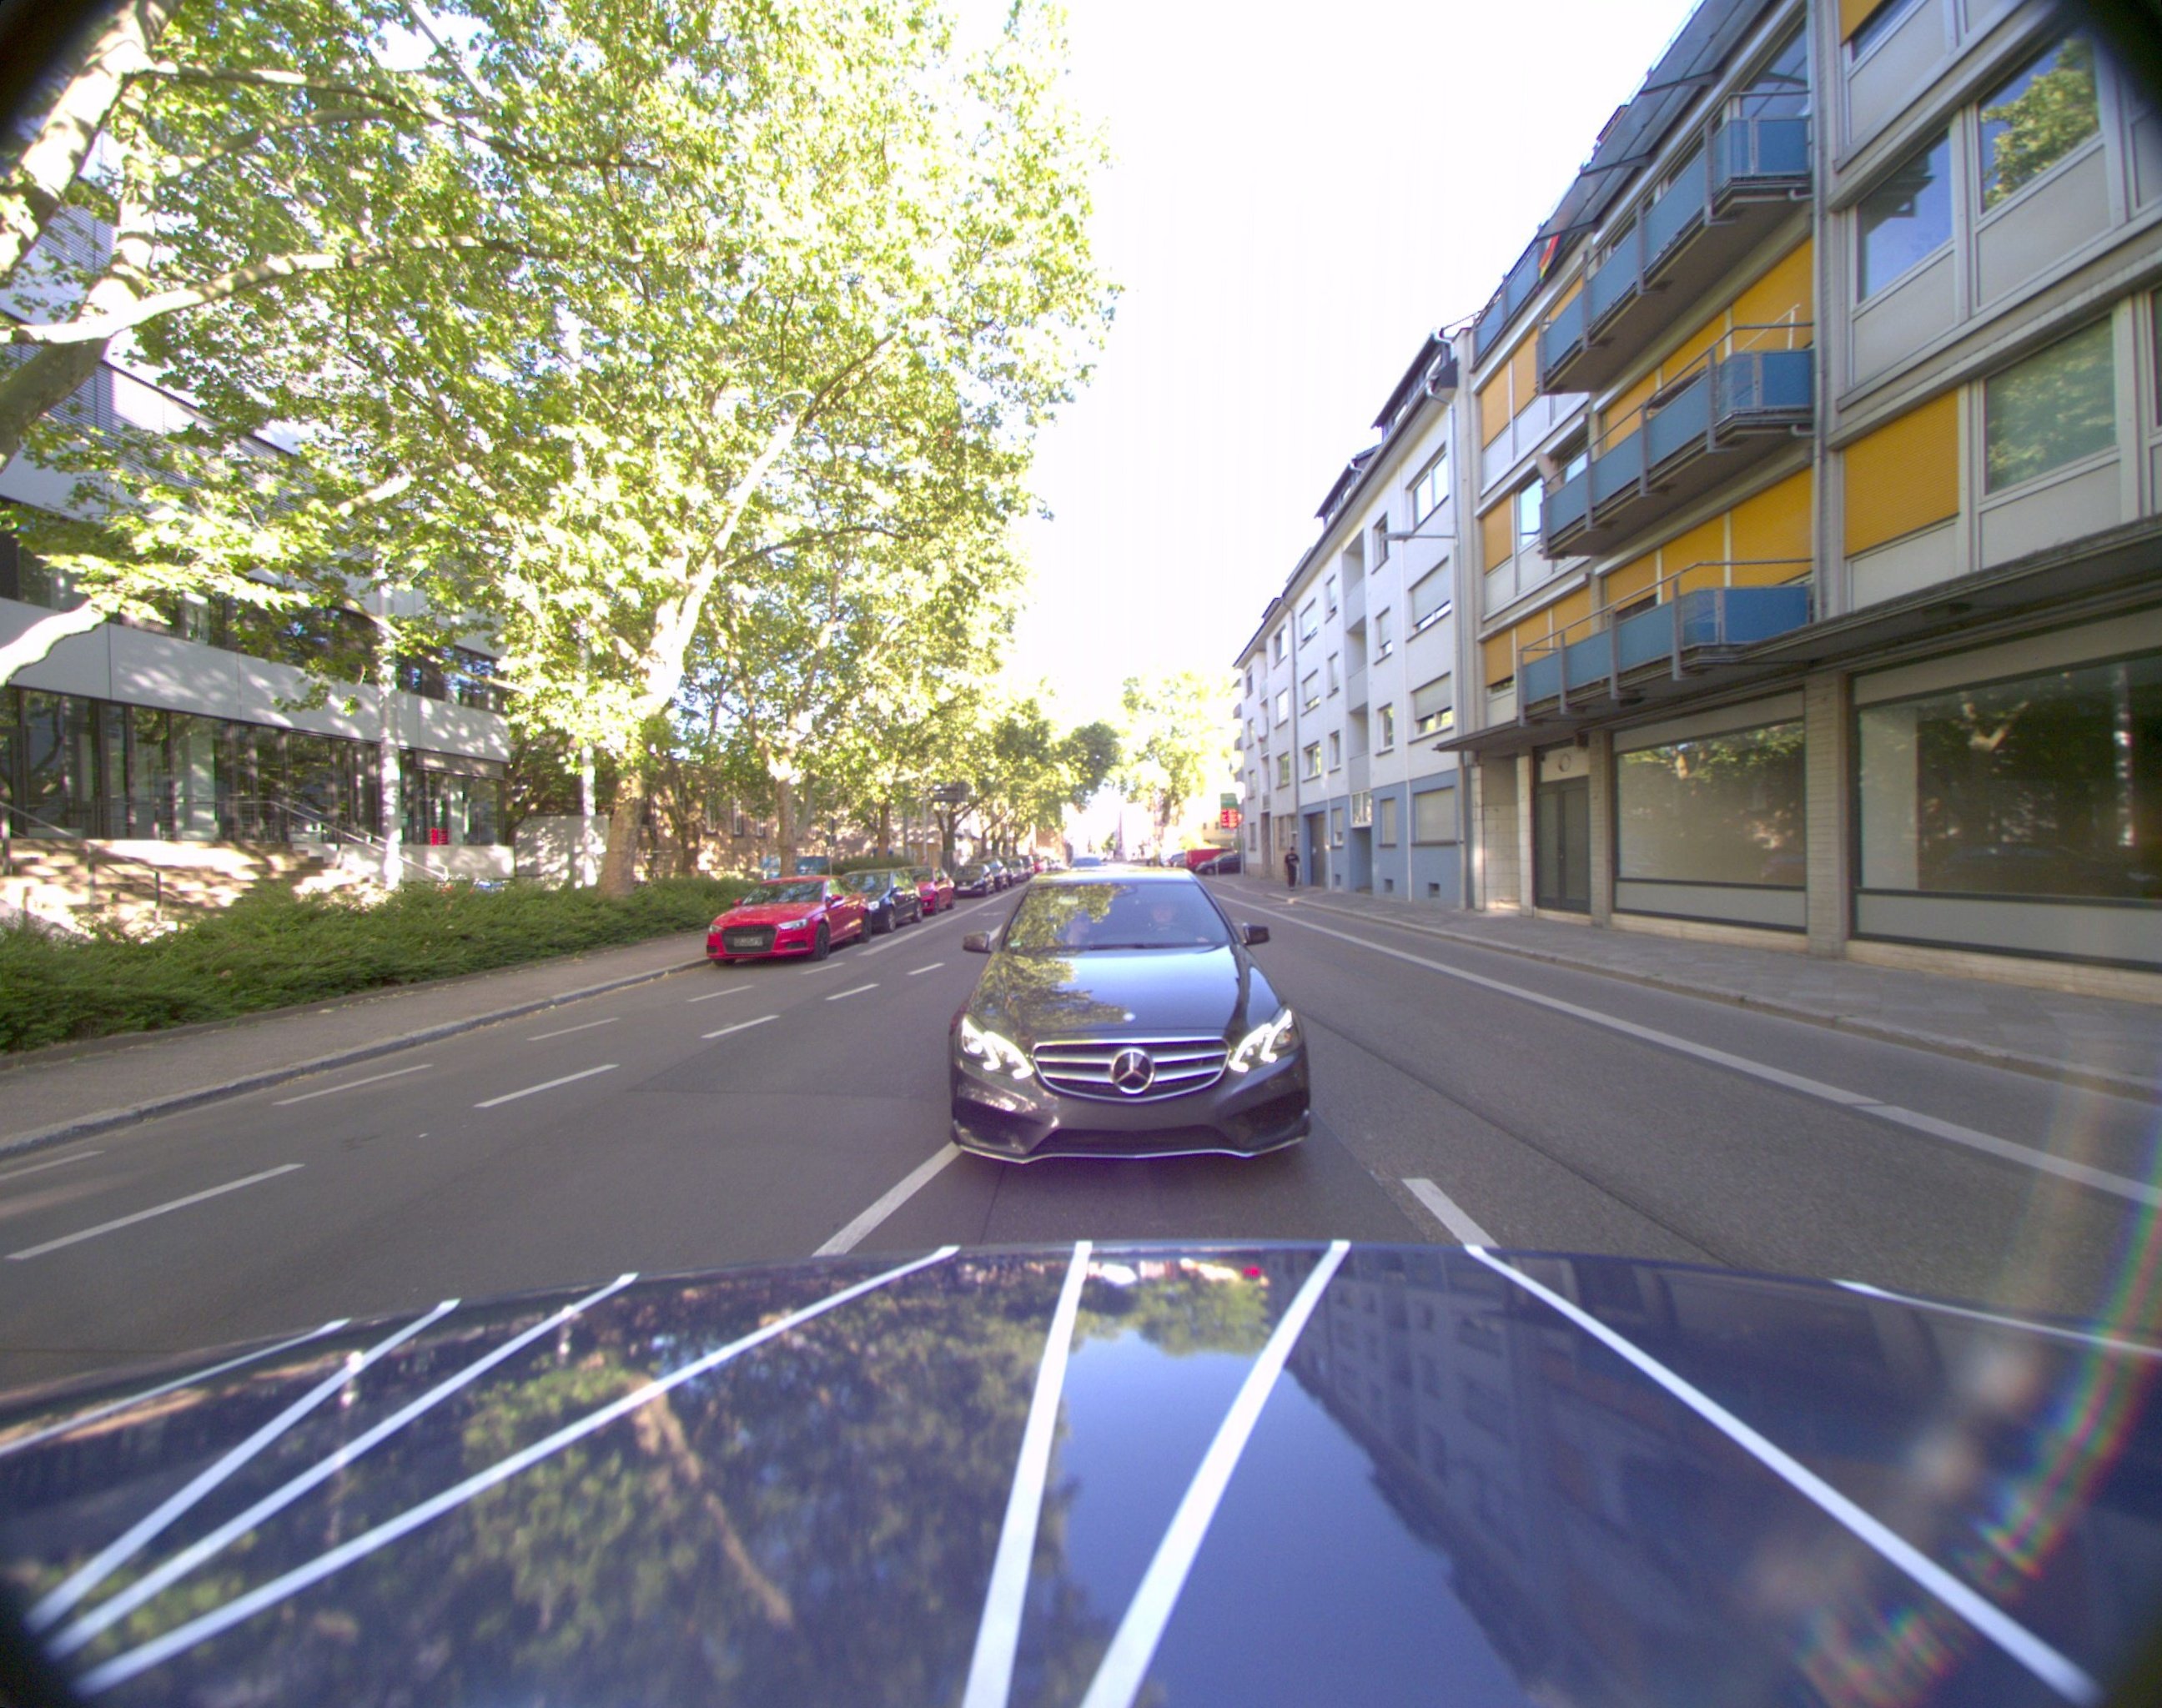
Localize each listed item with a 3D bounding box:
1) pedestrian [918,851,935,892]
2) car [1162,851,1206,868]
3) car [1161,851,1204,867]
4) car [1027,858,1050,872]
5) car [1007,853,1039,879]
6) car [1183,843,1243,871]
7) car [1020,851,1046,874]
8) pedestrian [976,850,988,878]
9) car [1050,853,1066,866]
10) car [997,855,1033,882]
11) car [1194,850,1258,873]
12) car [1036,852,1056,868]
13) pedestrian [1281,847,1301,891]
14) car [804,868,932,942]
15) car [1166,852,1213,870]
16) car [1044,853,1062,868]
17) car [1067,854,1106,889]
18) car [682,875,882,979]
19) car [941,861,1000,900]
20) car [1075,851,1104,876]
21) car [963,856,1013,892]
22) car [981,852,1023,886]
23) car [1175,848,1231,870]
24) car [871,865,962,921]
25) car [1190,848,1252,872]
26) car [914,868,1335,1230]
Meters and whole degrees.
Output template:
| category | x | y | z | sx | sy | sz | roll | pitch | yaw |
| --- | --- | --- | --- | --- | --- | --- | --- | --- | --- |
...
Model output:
| category | x | y | z | sx | sy | sz | roll | pitch | yaw |
| --- | --- | --- | --- | --- | --- | --- | --- | --- | --- |
| pedestrian | -6.958 | 0.778 | 34.244 | 0.601 | 1.785 | 0.593 | -2 | 1 | 0 |
| car | 10.600 | 0.542 | 78.634 | 4.255 | 1.461 | 1.653 | -4 | 0 | 1 |
| car | 10.771 | 0.516 | 80.599 | 4.255 | 1.461 | 1.653 | -4 | 0 | 1 |
| car | -3.993 | 1.030 | 71.771 | 1.835 | 1.220 | 4.259 | -2 | 0 | 1 |
| car | -4.182 | 0.815 | 55.623 | 1.835 | 1.750 | 4.259 | -2 | 0 | 1 |
| car | 10.412 | 0.223 | 60.113 | 4.255 | 1.907 | 1.818 | -4 | 0 | 0 |
| car | -4.149 | 0.685 | 66.331 | 1.835 | 1.839 | 4.259 | -2 | 0 | 1 |
| pedestrian | -6.740 | 0.682 | 51.826 | 0.660 | 1.849 | 0.641 | -2 | 1 | 1 |
| car | -3.050 | 0.689 | 102.933 | 1.835 | 1.667 | 4.259 | -2 | 0 | 1 |
| car | -4.341 | 0.950 | 50.591 | 1.835 | 1.604 | 4.259 | -2 | 0 | 1 |
| car | 10.397 | 0.519 | 54.731 | 4.255 | 1.392 | 1.653 | -4 | 0 | 1 |
| car | -3.942 | 0.672 | 86.210 | 1.835 | 1.667 | 4.259 | -2 | 0 | 1 |
| pedestrian | 8.349 | 0.591 | 30.235 | 0.612 | 1.685 | 0.655 | -2 | 1 | 1 |
| car | -5.043 | 1.153 | 18.614 | 1.835 | 1.438 | 4.168 | -2 | 0 | 1 |
| car | 10.429 | 0.675 | 73.176 | 4.255 | 1.461 | 1.653 | -4 | 0 | 1 |
| car | -3.415 | 0.790 | 92.826 | 1.835 | 1.667 | 4.259 | -2 | 0 | 1 |
| car | 0.298 | 0.798 | 36.922 | 1.726 | 1.530 | 4.000 | -1 | 0 | 1 |
| car | -5.132 | 1.180 | 13.753 | 1.835 | 1.396 | 4.247 | -2 | 0 | 1 |
| car | -4.748 | 1.107 | 33.160 | 1.835 | 1.459 | 4.168 | -2 | 0 | 1 |
| car | 0.632 | 0.670 | 54.678 | 1.908 | 1.678 | 4.813 | -2 | 0 | 1 |
| car | -4.599 | 0.967 | 38.058 | 1.835 | 1.596 | 4.161 | -2 | 0 | 1 |
| car | -4.513 | 0.825 | 44.098 | 1.835 | 1.787 | 4.463 | -2 | 0 | 1 |
| car | 10.049 | 0.409 | 62.695 | 4.255 | 1.461 | 1.653 | -4 | 0 | 1 |
| car | -5.045 | 1.137 | 23.824 | 1.835 | 1.459 | 4.168 | -2 | 0 | 1 |
| car | 10.481 | 0.456 | 57.033 | 4.255 | 1.461 | 1.653 | -4 | 0 | 1 |
| car | 0.223 | 0.918 | 5.555 | 1.849 | 1.490 | 4.302 | -1 | 0 | 1 |
